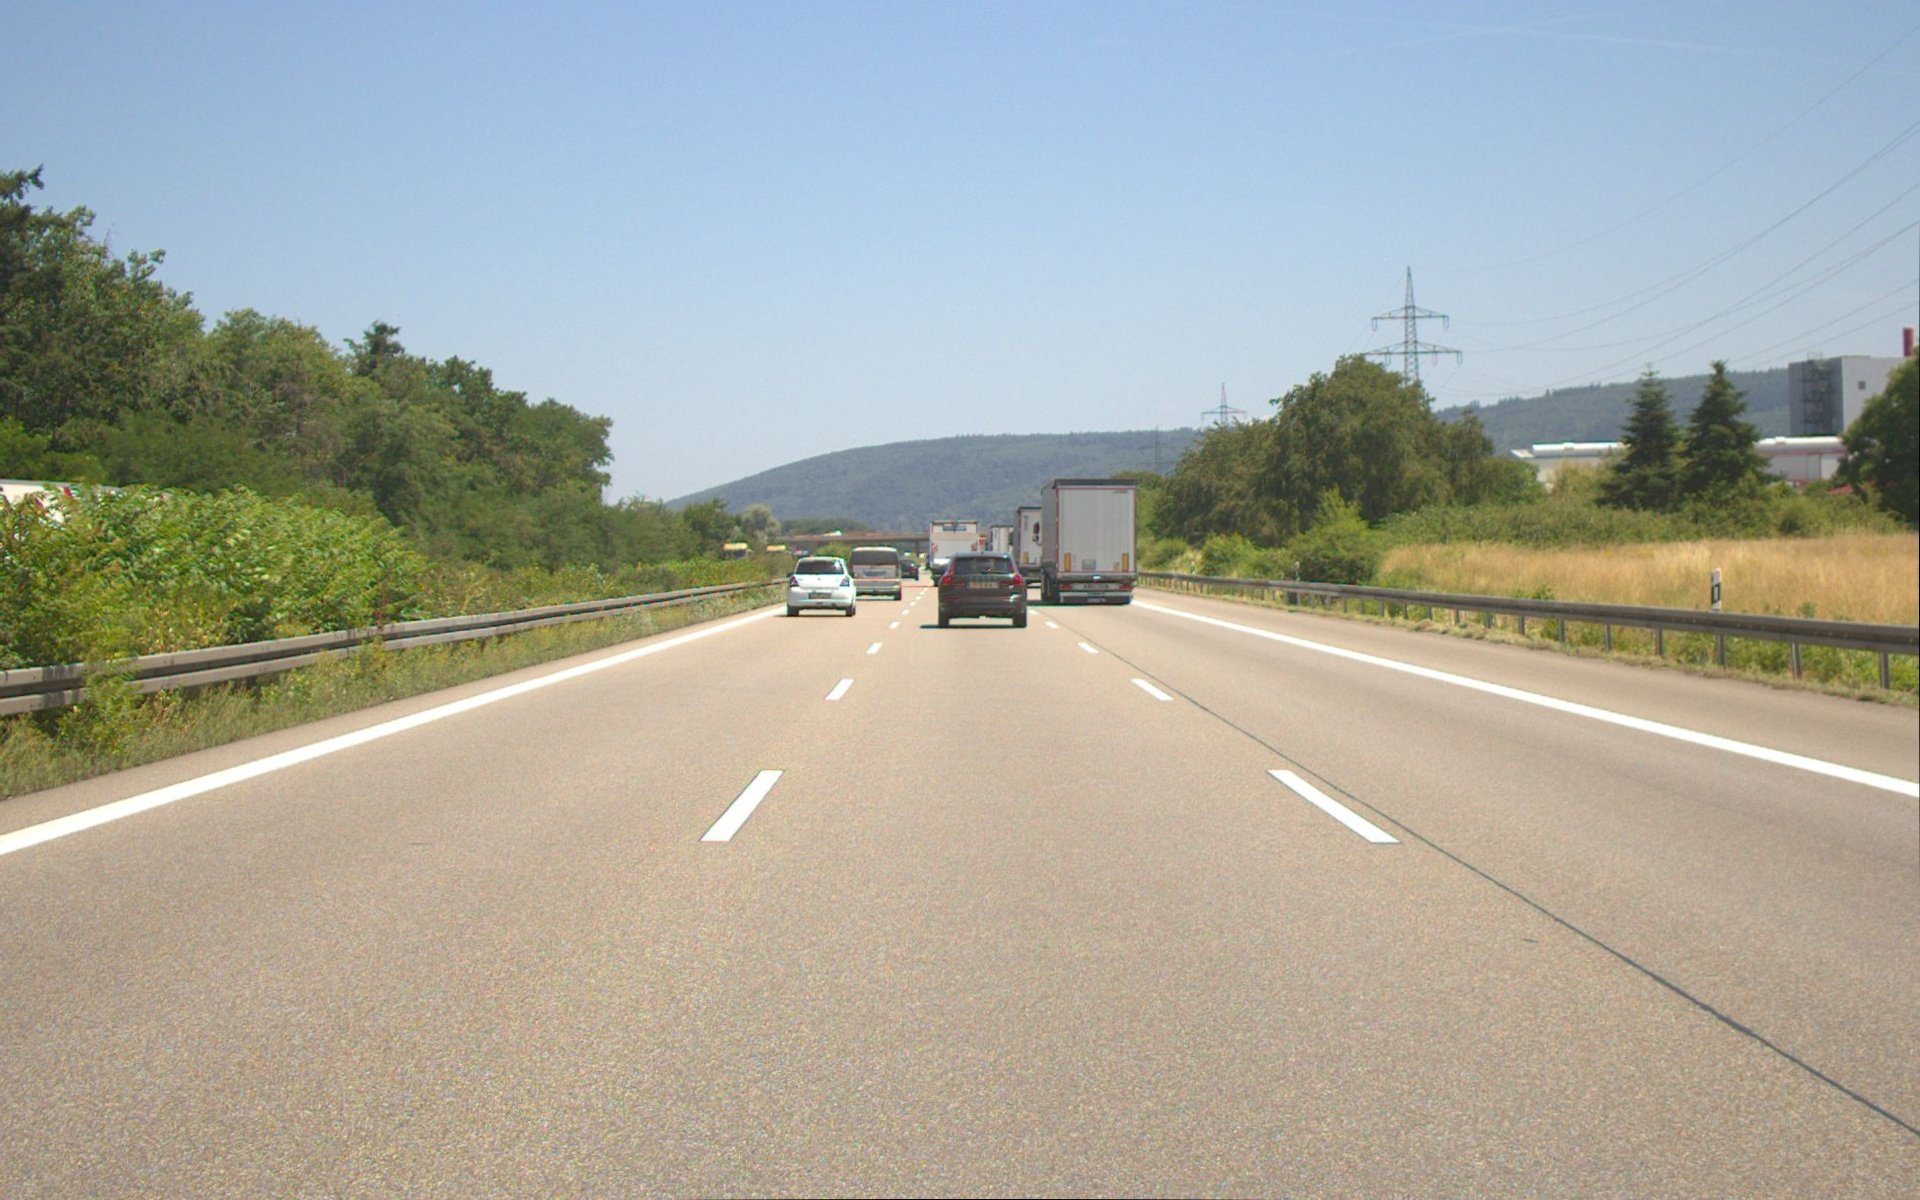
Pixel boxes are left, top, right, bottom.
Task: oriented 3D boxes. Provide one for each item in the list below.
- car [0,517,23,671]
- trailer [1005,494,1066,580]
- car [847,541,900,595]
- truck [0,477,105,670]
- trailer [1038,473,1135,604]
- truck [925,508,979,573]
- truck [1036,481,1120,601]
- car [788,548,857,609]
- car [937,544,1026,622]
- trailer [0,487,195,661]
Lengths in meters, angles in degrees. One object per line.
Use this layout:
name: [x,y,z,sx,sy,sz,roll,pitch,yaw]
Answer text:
car: [-16.288,-0.063,53.365,2.124,2.458,5.086,-1,1,-1]
trailer: [3.811,-3.148,175.684,2.789,4.149,13.574,-2,0,1]
car: [-3.049,-1.146,122.396,1.761,1.844,4.000,-2,1,-1]
truck: [-20.469,-0.531,71.728,2.926,3.814,9.275,-1,1,0]
trailer: [4.109,-1.980,114.036,2.736,4.092,13.122,0,1,0]
truck: [-0.433,-3.106,181.481,2.782,3.361,8.127,0,0,0]
truck: [4.109,-2.054,120.834,2.736,4.105,6.125,0,1,0]
car: [-3.517,-0.571,88.469,1.607,1.462,4.000,-2,1,-1]
car: [0.445,-0.382,74.293,1.873,1.618,4.004,0,1,0]
trailer: [-20.537,-0.624,80.969,2.926,3.814,9.275,-1,1,0]
